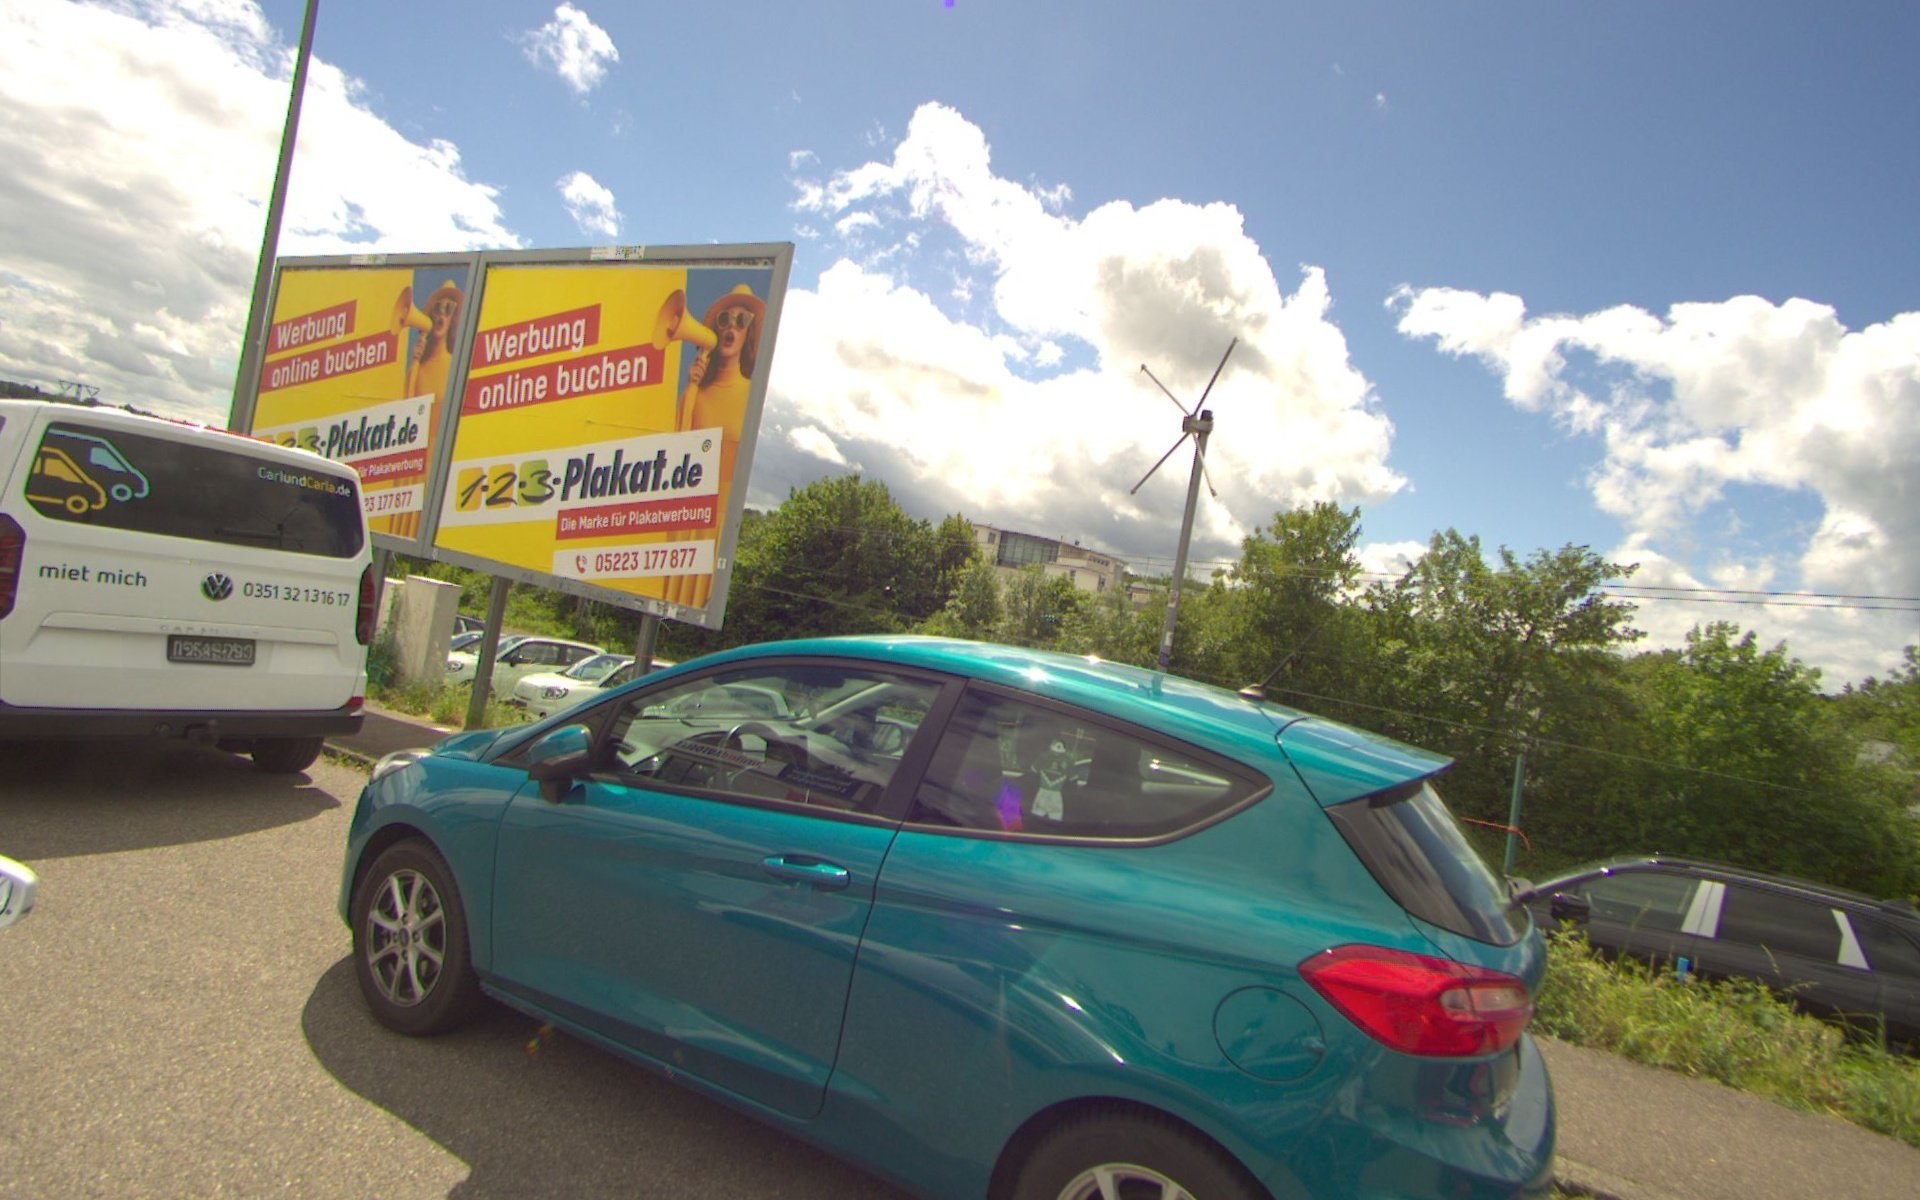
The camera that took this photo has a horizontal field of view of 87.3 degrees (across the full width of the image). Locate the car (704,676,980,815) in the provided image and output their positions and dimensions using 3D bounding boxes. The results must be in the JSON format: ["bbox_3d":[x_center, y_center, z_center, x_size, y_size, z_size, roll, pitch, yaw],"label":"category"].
[{"bbox_3d":[-1.734,2.004,14.428,3.651,1.274,1.574,7,-2,33],"label":"car"}]

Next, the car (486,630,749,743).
[{"bbox_3d":[-6.004,1.604,18.002,1.767,1.616,3.986,7,-2,40],"label":"car"}]

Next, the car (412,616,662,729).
[{"bbox_3d":[-8.001,1.421,19.193,3.971,1.659,1.623,9,-2,-39],"label":"car"}]

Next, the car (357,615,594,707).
[{"bbox_3d":[-9.837,1.284,20.630,3.977,1.397,1.645,9,-2,-44],"label":"car"}]

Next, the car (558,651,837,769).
[{"bbox_3d":[-4.132,1.833,16.290,3.979,1.507,1.625,10,-2,-45],"label":"car"}]

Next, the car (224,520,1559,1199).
[{"bbox_3d":[-0.432,0.735,3.293,3.911,1.467,1.597,7,-2,29],"label":"car"}]

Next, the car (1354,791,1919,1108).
[{"bbox_3d":[6.022,2.828,8.690,4.483,1.367,1.818,7,-2,34],"label":"car"}]

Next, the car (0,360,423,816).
[{"bbox_3d":[-6.167,-0.222,6.628,5.455,2.027,1.979,7,-2,32],"label":"car"}]

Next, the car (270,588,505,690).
[{"bbox_3d":[-12.160,0.879,21.529,3.976,1.654,1.696,9,-2,-43],"label":"car"}]
